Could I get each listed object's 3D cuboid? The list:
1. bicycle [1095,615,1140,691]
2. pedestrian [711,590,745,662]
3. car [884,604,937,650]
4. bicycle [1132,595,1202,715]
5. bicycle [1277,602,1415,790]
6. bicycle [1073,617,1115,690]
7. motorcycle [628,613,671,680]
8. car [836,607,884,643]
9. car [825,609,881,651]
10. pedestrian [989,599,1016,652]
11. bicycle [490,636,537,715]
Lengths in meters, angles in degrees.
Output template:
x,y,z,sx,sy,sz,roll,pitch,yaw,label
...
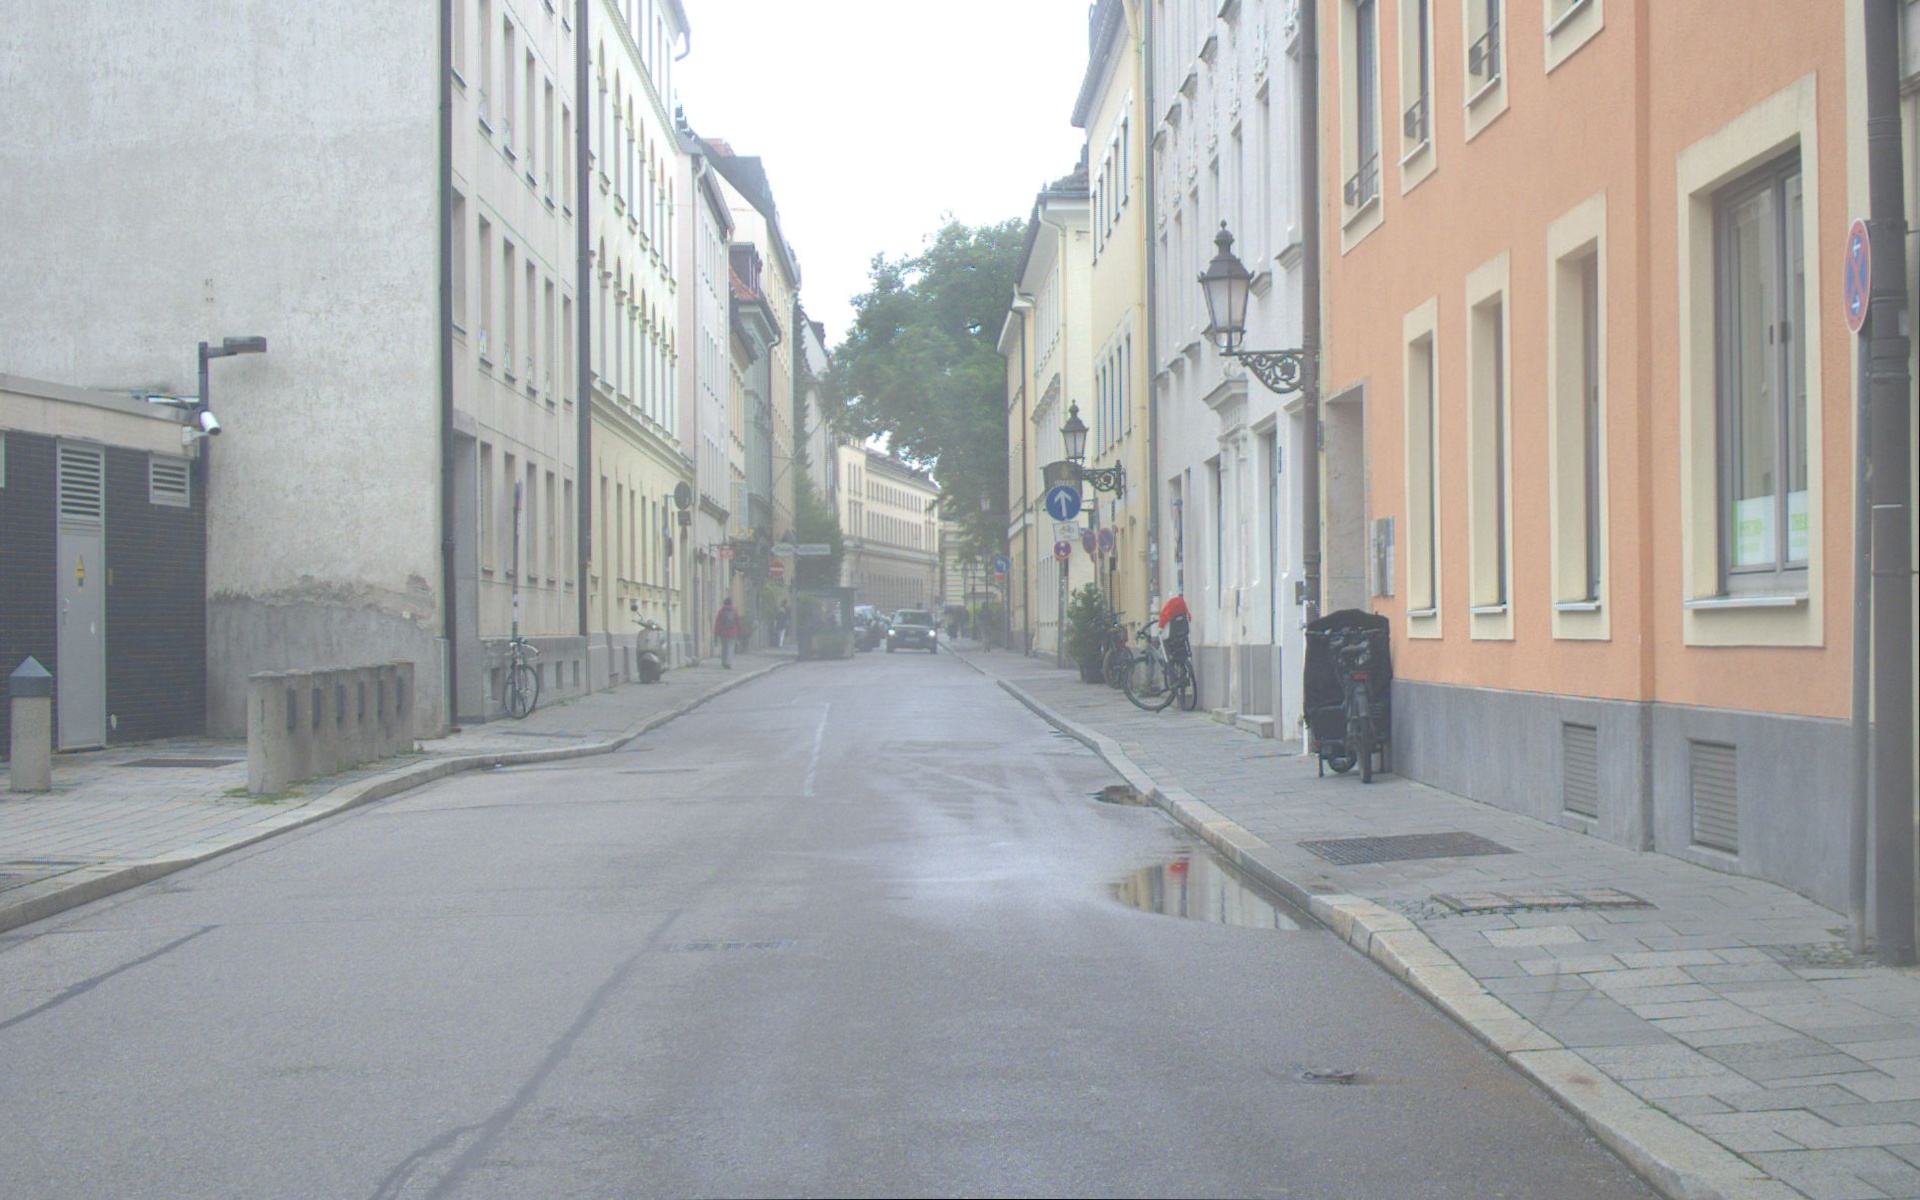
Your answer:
x,y,z,sx,sy,sz,roll,pitch,yaw,label
2.433,0.809,53.118,0.565,1.133,1.987,-2,0,0,bicycle
-5.524,0.617,81.892,0.765,1.702,0.785,0,0,-3,pedestrian
-1.768,0.937,121.948,1.812,1.588,4.000,0,0,-2,car
2.520,0.656,42.020,0.713,1.391,2.121,-3,0,2,bicycle
2.793,0.670,25.077,0.679,1.236,2.382,-5,0,1,bicycle
2.144,0.848,55.324,0.565,1.133,1.684,-2,0,0,bicycle
-5.515,0.816,61.115,0.602,1.170,1.708,1,0,0,motorcycle
-4.193,1.036,144.499,1.779,1.461,3.541,1,0,2,car
-3.864,1.080,124.418,1.779,1.461,3.662,1,0,2,car
1.422,0.857,115.797,0.880,1.796,1.046,1,0,0,pedestrian
-5.567,0.935,42.888,0.320,0.940,1.574,3,0,1,bicycle
